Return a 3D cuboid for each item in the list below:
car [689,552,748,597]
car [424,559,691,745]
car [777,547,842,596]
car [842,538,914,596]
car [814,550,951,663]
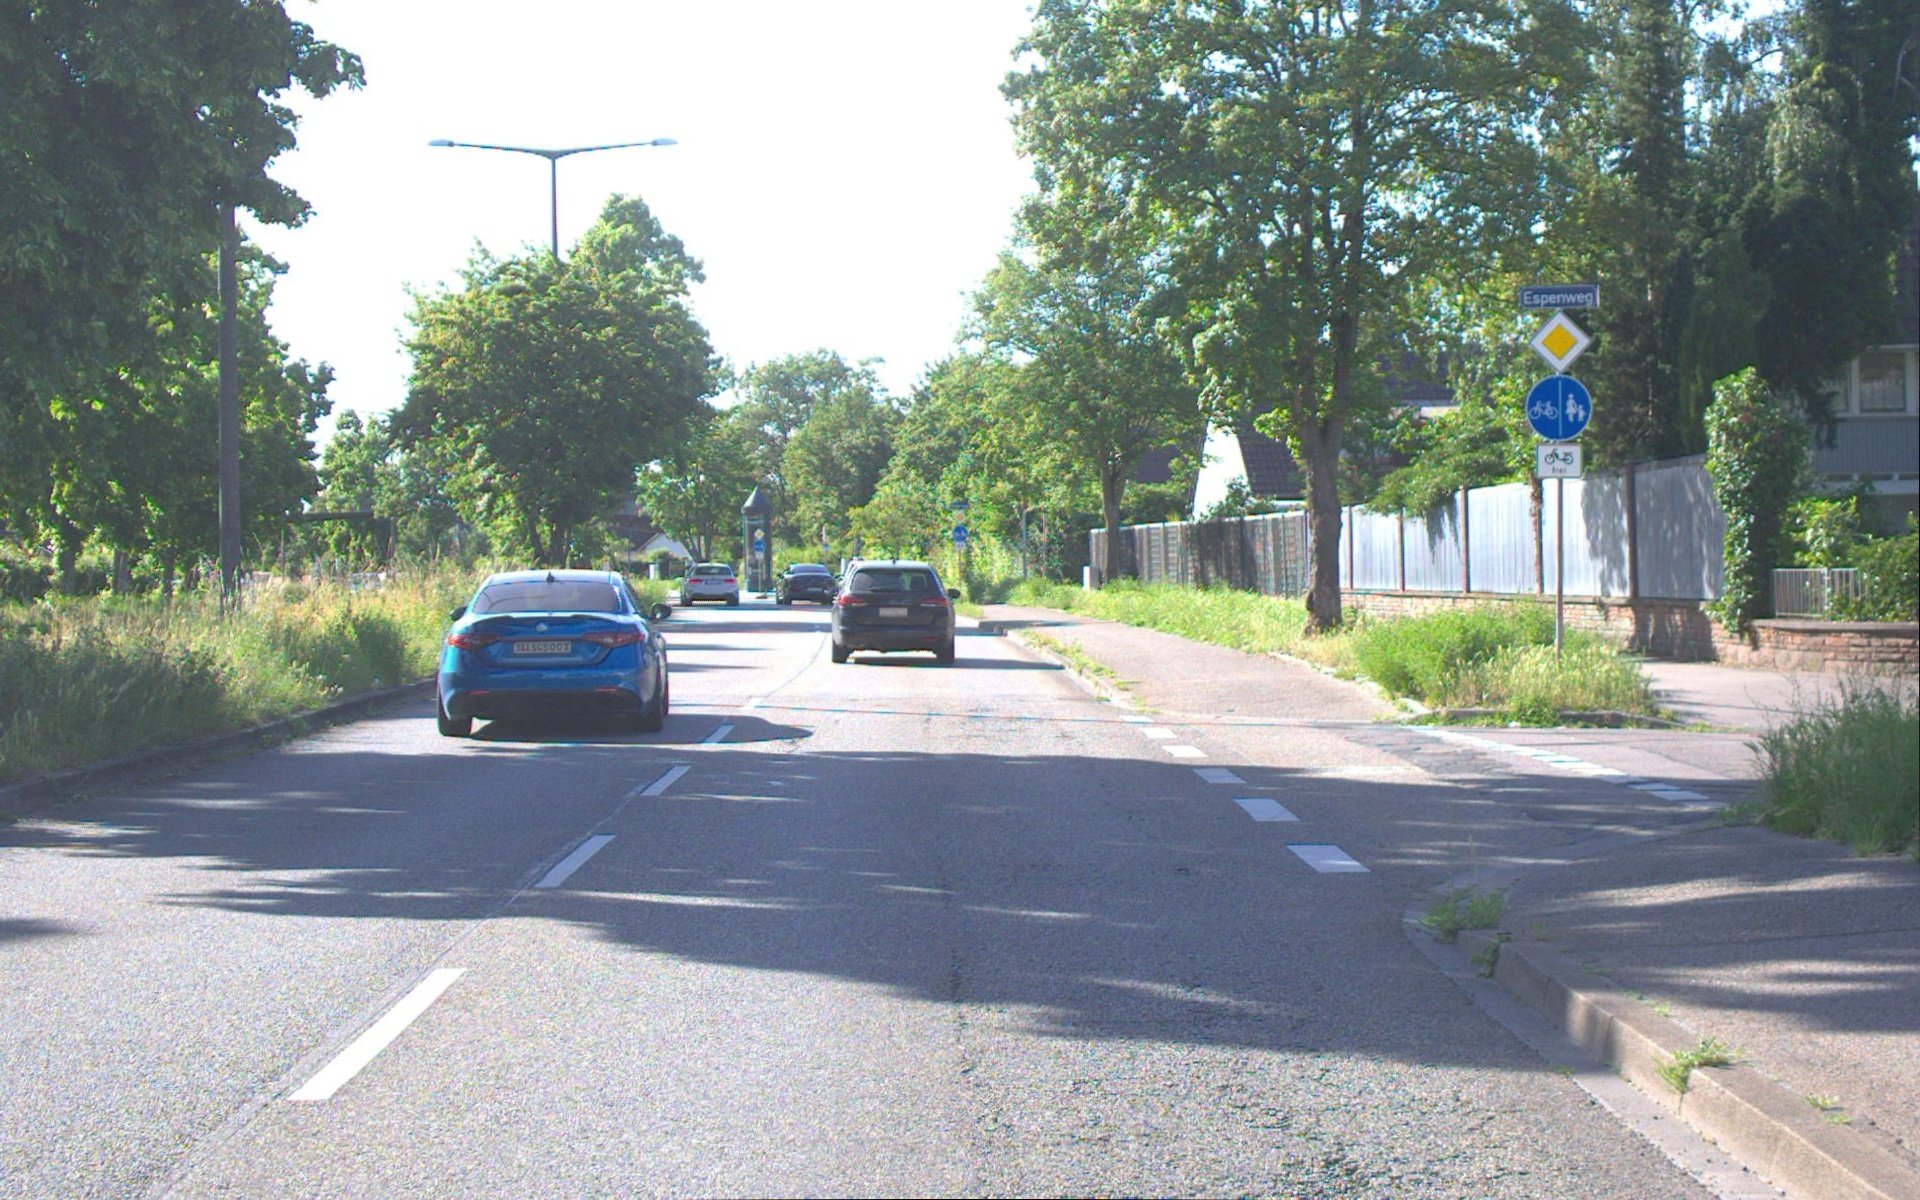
[{"bbox_3d":[-8.198,-0.883,117.114,1.915,1.507,4.068,0,1,-3],"label":"car"},{"bbox_3d":[-3.503,0.407,30.594,1.838,1.469,4.184,-1,1,0],"label":"car"},{"bbox_3d":[-5.304,-1.009,121.069,1.915,1.672,4.013,0,0,-8],"label":"car"},{"bbox_3d":[-2.297,-0.912,95.556,1.915,1.574,4.182,0,0,-3],"label":"car"},{"bbox_3d":[-1.146,0.069,50.255,1.915,1.574,4.182,0,1,-2],"label":"car"}]
